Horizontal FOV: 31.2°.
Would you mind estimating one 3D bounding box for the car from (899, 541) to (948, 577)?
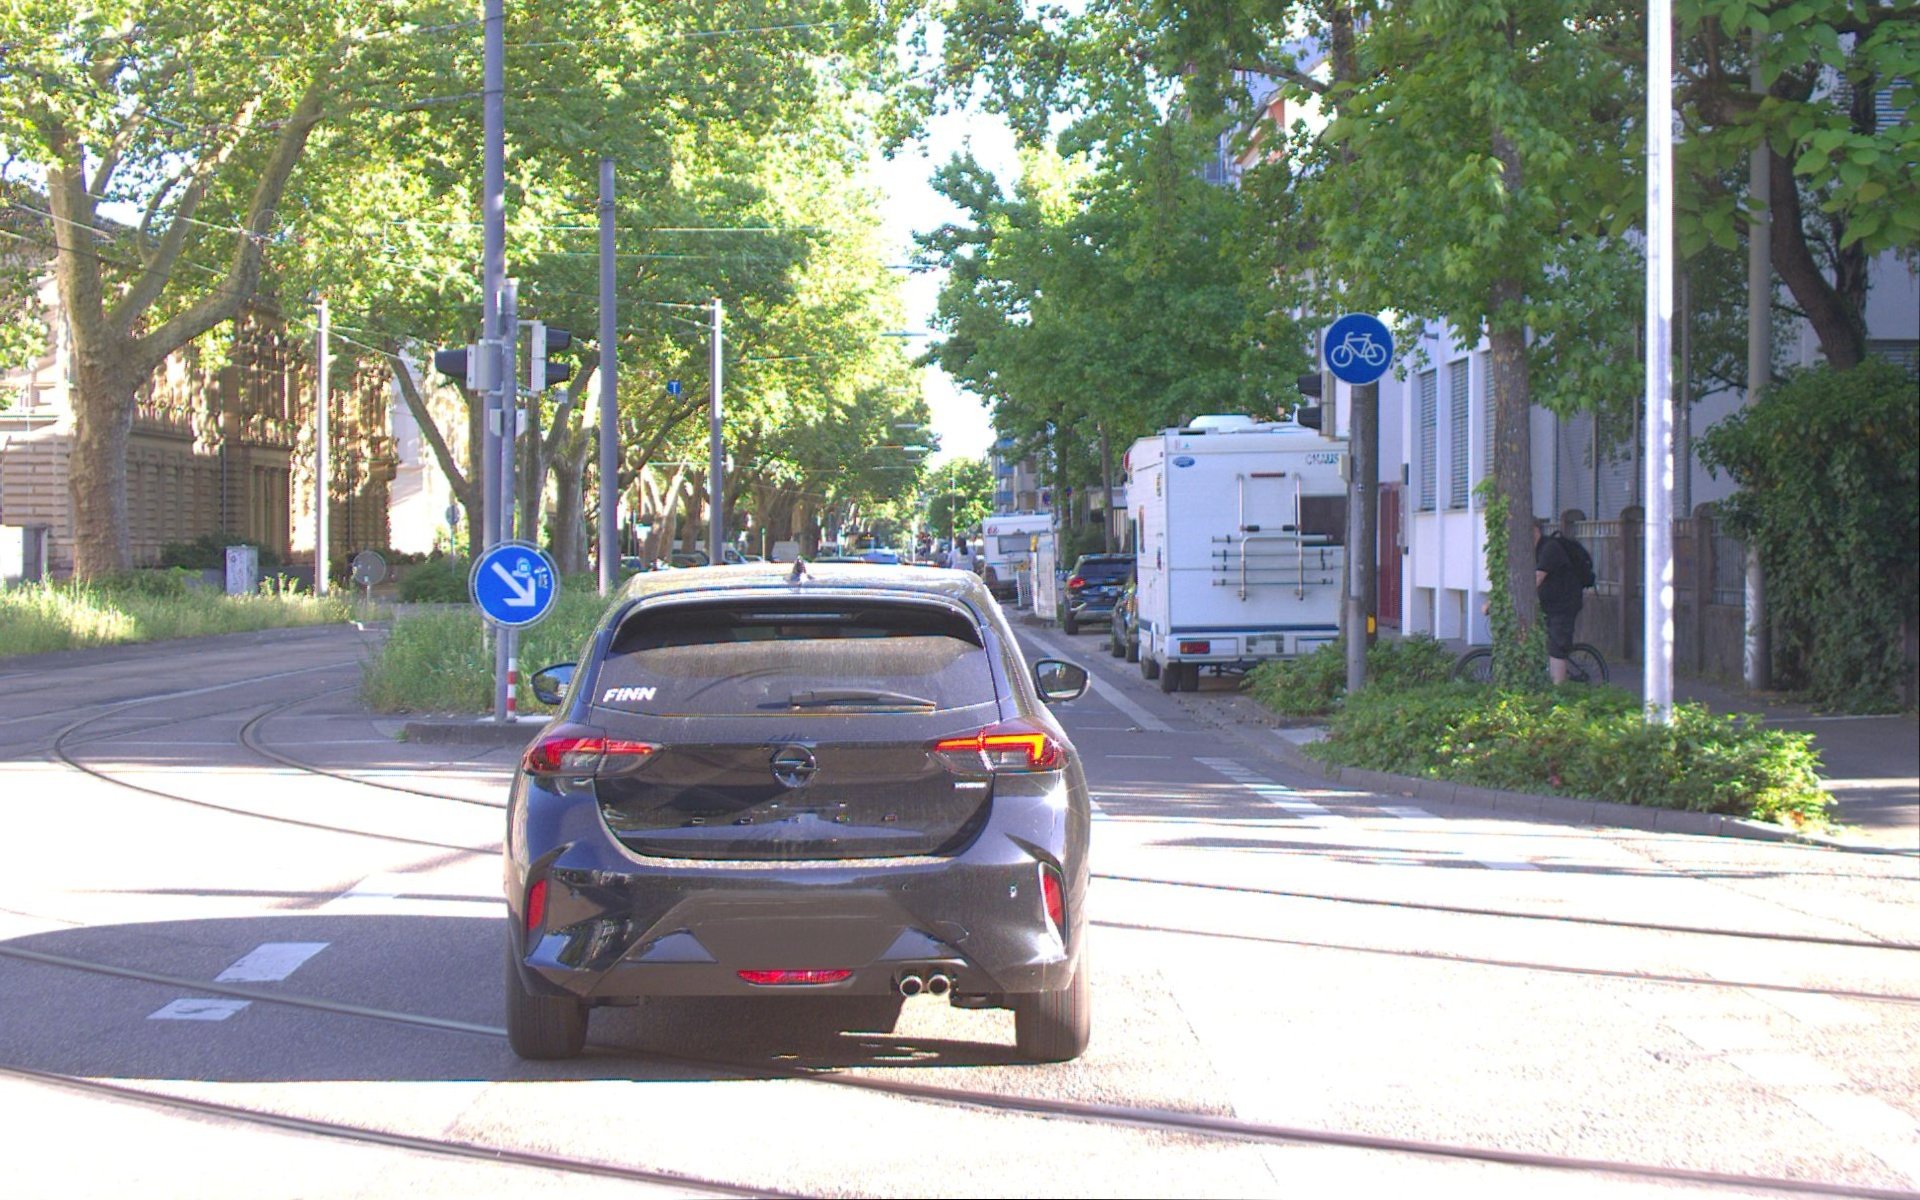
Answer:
[{"bbox_3d":[-1.522,-1.724,144.677,1.905,1.420,4.215,1,2,1],"label":"car"}]

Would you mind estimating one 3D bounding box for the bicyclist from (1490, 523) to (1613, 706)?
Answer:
[{"bbox_3d":[4.932,0.110,28.679,0.699,1.504,0.751,0,1,-24],"label":"bicyclist"}]

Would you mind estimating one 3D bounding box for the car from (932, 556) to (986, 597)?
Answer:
[{"bbox_3d":[-0.032,-0.898,127.489,1.905,1.420,4.215,1,2,1],"label":"car"}]

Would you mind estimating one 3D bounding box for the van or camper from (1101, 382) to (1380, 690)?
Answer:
[{"bbox_3d":[3.082,-0.757,39.624,2.375,3.114,7.551,-3,1,-1],"label":"van or camper"}]

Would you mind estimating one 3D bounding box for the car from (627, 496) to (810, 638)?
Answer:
[{"bbox_3d":[-3.011,-0.454,43.701,1.993,1.622,4.471,3,1,-1],"label":"car"}]

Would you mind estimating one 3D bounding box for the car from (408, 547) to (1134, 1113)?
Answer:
[{"bbox_3d":[-0.461,0.573,11.163,1.905,1.420,4.215,1,2,1],"label":"car"}]

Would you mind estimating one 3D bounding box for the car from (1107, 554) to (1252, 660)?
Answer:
[{"bbox_3d":[3.126,0.073,49.566,1.685,1.415,4.049,0,1,-2],"label":"car"}]

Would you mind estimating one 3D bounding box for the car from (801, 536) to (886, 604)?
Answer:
[{"bbox_3d":[-2.699,-0.718,80.364,1.790,1.505,3.874,-1,1,1],"label":"car"}]

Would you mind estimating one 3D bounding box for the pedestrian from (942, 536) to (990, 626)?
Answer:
[{"bbox_3d":[0.134,-0.433,78.135,1.036,2.017,1.212,1,1,-1],"label":"pedestrian"}]

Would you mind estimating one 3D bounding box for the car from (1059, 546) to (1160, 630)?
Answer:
[{"bbox_3d":[2.858,-0.261,66.402,1.790,1.505,3.874,-1,1,1],"label":"car"}]

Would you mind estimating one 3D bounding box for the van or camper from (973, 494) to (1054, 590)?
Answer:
[{"bbox_3d":[1.752,-1.919,112.951,2.486,2.983,5.434,2,1,1],"label":"van or camper"}]

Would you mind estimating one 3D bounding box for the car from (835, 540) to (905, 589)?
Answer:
[{"bbox_3d":[-2.713,-1.089,104.330,1.905,1.420,4.215,1,2,1],"label":"car"}]

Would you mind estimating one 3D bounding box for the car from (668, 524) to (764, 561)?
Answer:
[{"bbox_3d":[-14.826,-3.504,209.150,5.687,2.190,2.289,0,1,0],"label":"car"}]

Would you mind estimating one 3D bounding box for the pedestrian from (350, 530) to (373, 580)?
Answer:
[{"bbox_3d":[-20.969,-1.585,120.448,0.618,1.727,0.596,3,1,-1],"label":"pedestrian"}]

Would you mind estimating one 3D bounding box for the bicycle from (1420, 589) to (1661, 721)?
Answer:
[{"bbox_3d":[4.842,0.448,28.641,1.944,1.066,0.641,0,1,-24],"label":"bicycle"}]
